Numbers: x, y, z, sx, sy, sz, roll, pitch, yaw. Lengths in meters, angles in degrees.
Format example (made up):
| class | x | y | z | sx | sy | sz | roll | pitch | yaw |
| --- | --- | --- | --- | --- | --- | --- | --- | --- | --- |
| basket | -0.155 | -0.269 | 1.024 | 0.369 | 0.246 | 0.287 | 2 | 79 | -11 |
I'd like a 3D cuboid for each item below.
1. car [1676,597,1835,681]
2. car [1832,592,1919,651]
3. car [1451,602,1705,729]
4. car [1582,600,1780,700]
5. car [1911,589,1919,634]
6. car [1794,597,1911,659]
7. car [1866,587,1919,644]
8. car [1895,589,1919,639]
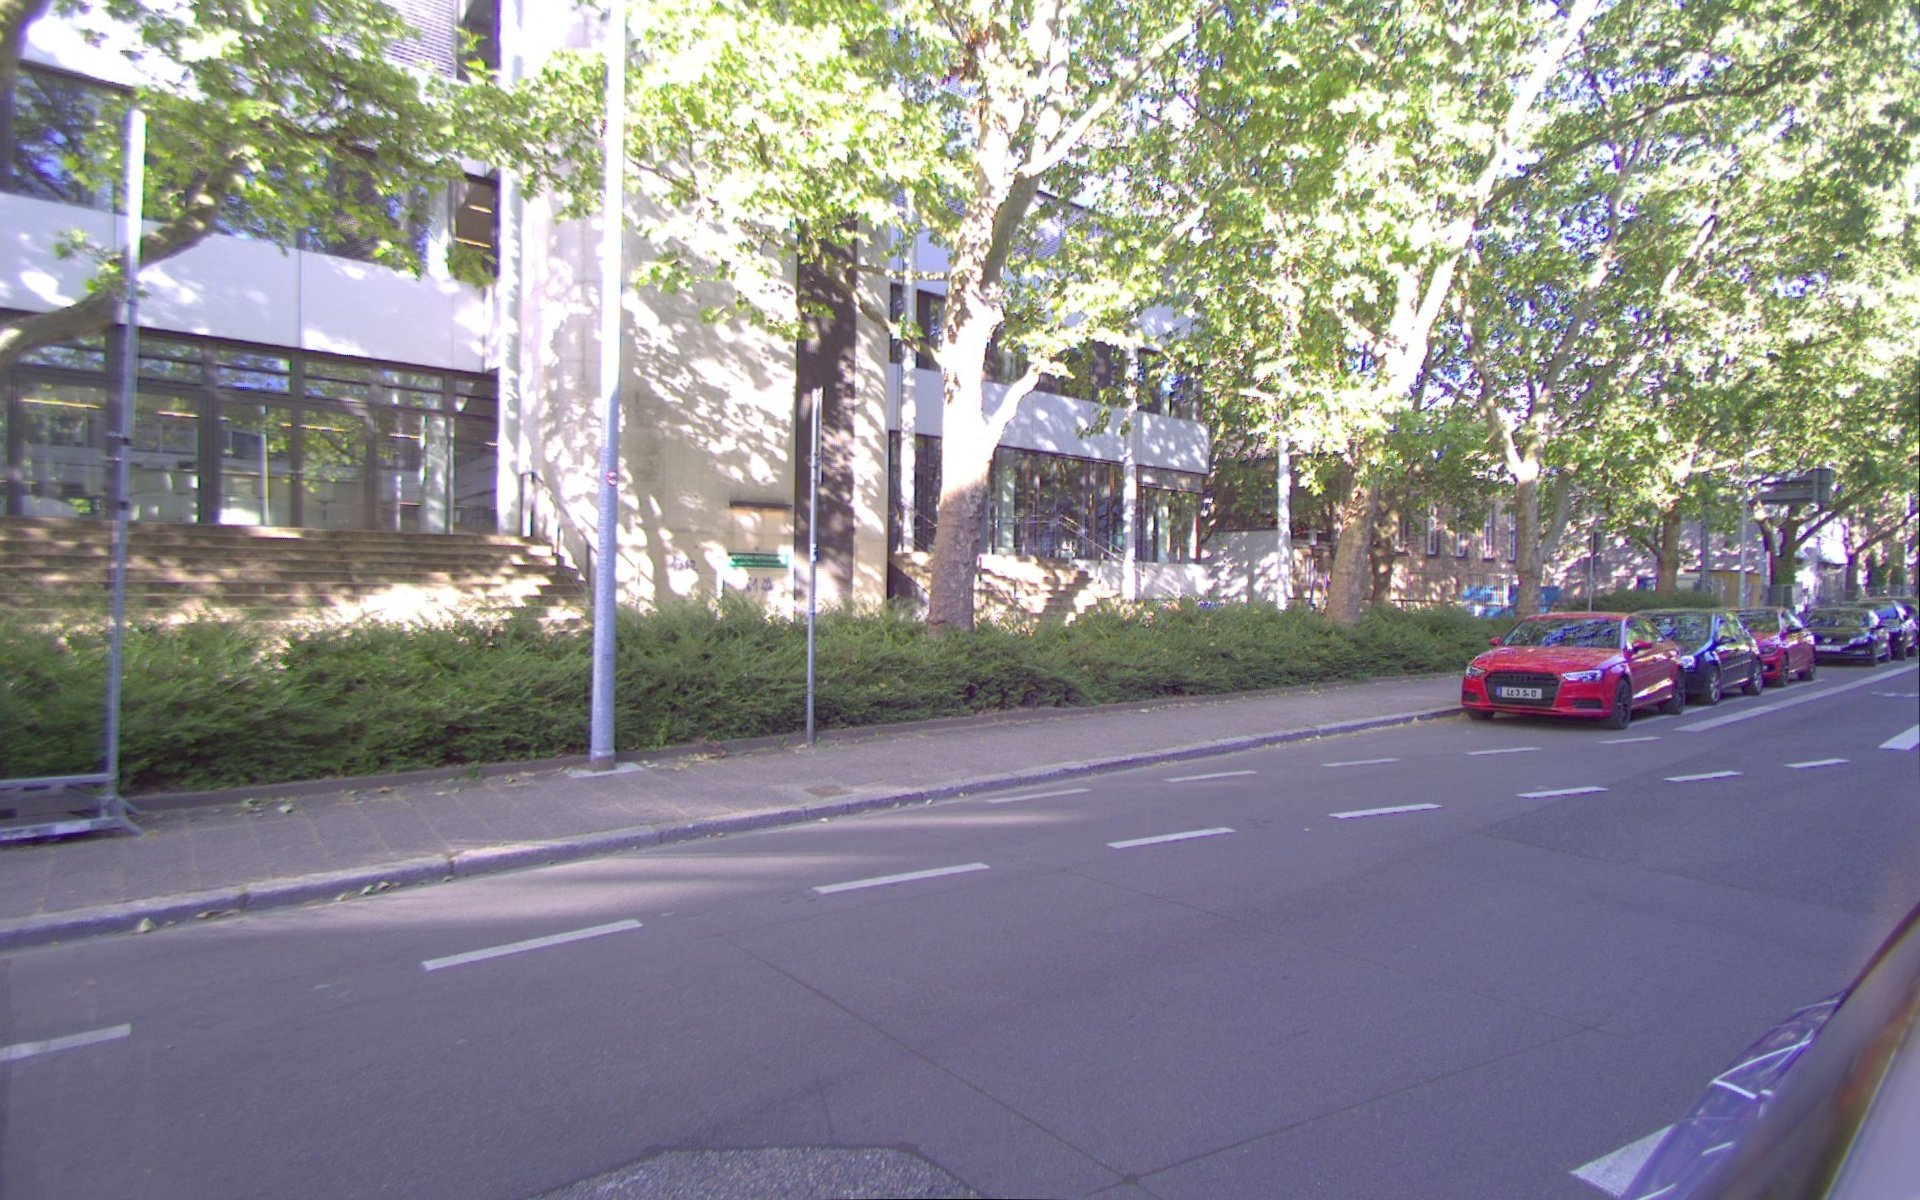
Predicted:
| class | x | y | z | sx | sy | sz | roll | pitch | yaw |
| --- | --- | --- | --- | --- | --- | --- | --- | --- | --- |
| car | 15.861 | 0.697 | 20.104 | 4.092 | 1.502 | 1.815 | 0 | -1 | -42 |
| car | 26.598 | 0.584 | 29.128 | 4.092 | 1.573 | 1.788 | 0 | -1 | -42 |
| car | 8.362 | 0.750 | 13.543 | 4.092 | 1.431 | 1.815 | 0 | -1 | -42 |
| car | 11.955 | 0.735 | 16.683 | 4.092 | 1.431 | 1.815 | 0 | -1 | -42 |
| car | 39.629 | 0.433 | 40.396 | 4.475 | 1.777 | 2.040 | 0 | -1 | -42 |
| car | 23.053 | 0.675 | 26.097 | 4.092 | 1.478 | 1.788 | 0 | -1 | -42 |
| car | 31.059 | 0.484 | 33.010 | 4.271 | 1.777 | 1.788 | 0 | -1 | -42 |
| car | 35.912 | 0.478 | 37.246 | 4.475 | 1.777 | 1.788 | 0 | -1 | -42 |
